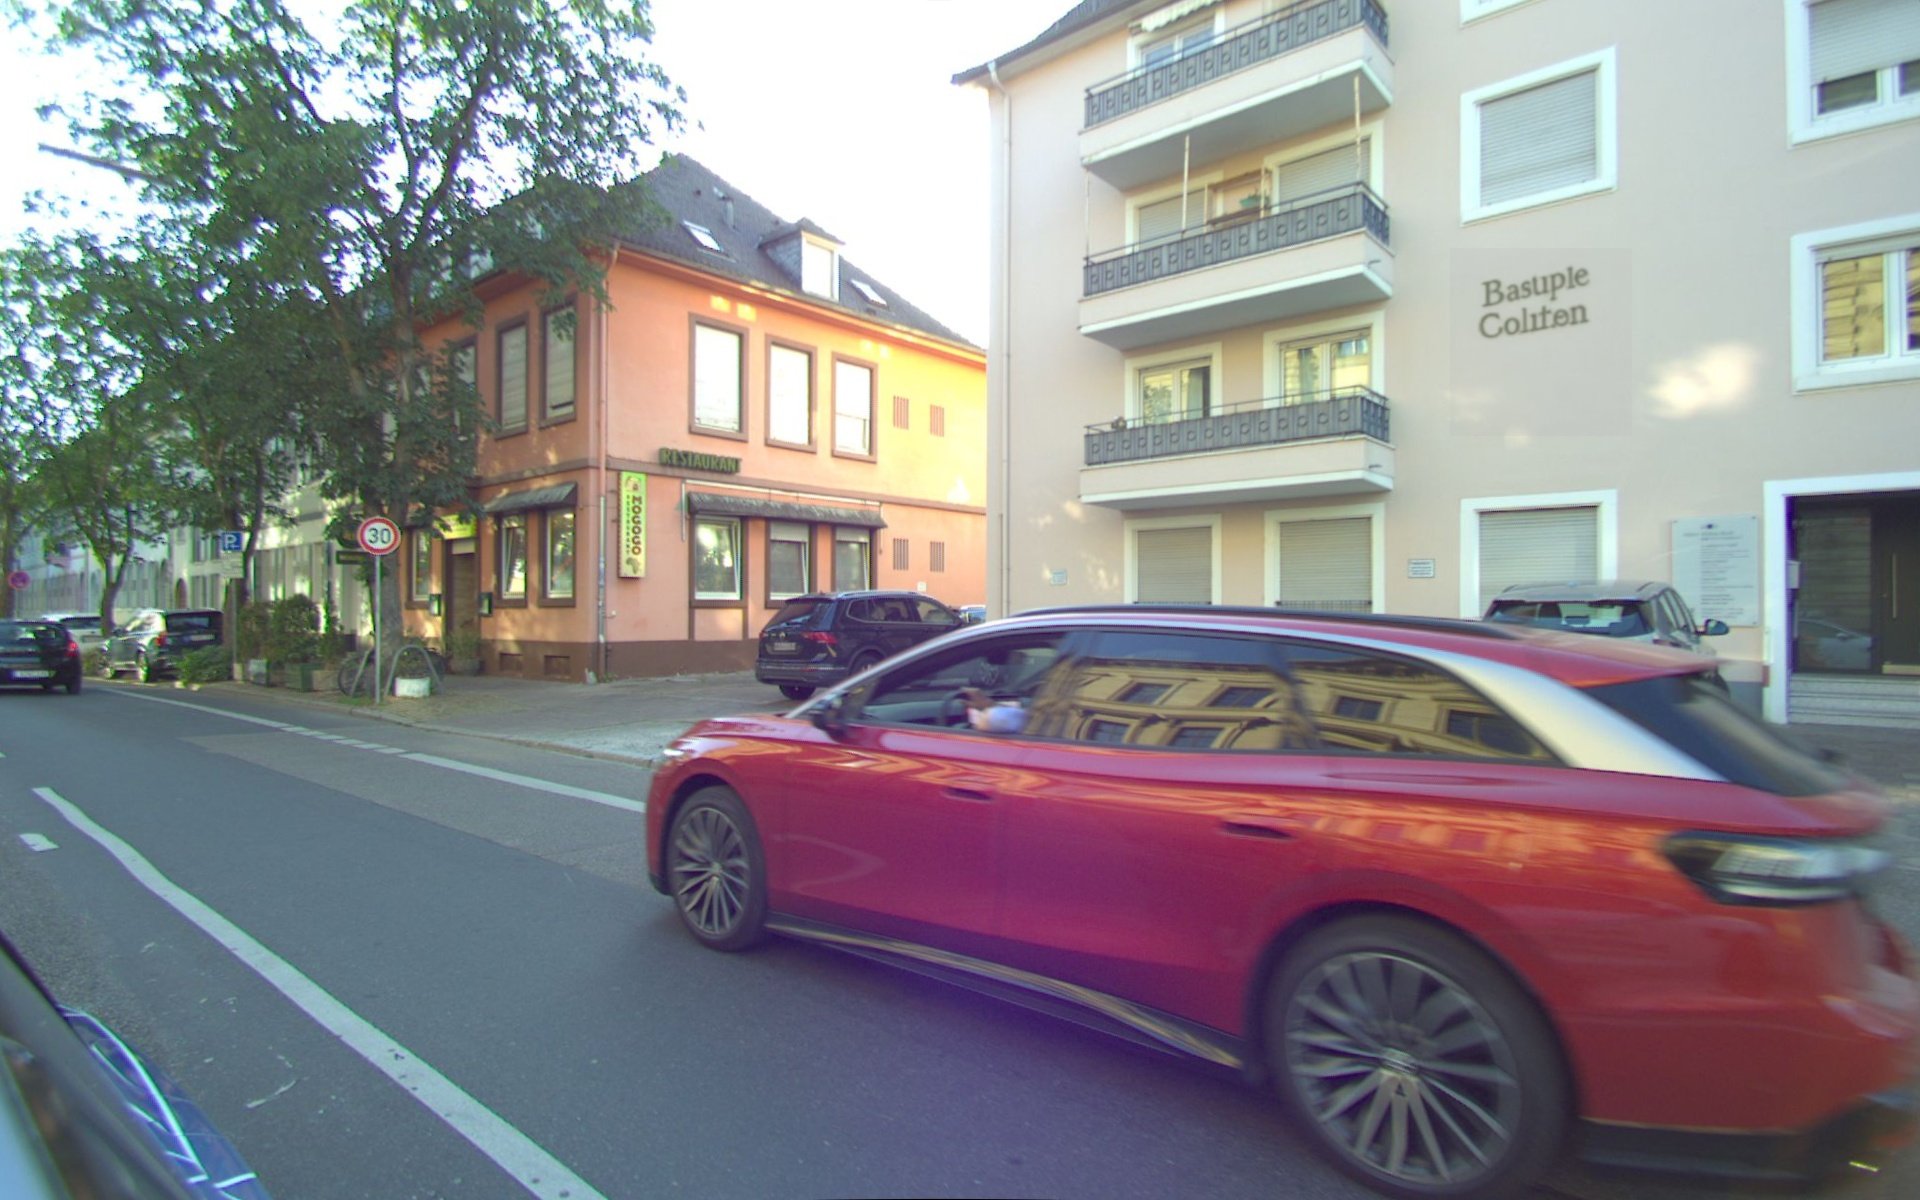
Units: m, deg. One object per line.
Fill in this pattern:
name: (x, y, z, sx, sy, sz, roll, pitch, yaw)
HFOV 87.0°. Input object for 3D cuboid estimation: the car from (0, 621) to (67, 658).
car: (-41.187, 1.686, 43.419, 1.801, 1.557, 4.172, -1, -1, 43)

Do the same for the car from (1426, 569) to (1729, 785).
car: (6.195, 0.549, 9.883, 1.914, 1.617, 4.374, -1, 0, 39)

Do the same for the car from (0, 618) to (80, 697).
car: (-19.240, 1.145, 20.469, 3.852, 1.483, 1.640, -2, -3, 41)

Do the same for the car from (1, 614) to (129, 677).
car: (-27.303, 1.335, 30.835, 4.645, 1.680, 1.813, -1, 3, 35)

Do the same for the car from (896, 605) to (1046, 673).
car: (0.349, 0.936, 25.589, 1.884, 1.567, 3.762, -1, -1, 39)

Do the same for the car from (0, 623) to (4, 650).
car: (-56.971, 2.078, 57.125, 1.798, 1.519, 4.178, -1, -1, 38)

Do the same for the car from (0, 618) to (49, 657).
car: (-43.449, 1.661, 44.980, 1.798, 1.703, 4.178, -1, -1, 38)

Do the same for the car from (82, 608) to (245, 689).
car: (-20.375, 1.173, 25.819, 5.037, 1.772, 1.813, -1, 3, 35)

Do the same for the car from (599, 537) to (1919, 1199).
car: (0.731, 0.731, 3.990, 4.842, 1.557, 1.812, -2, -3, 39)

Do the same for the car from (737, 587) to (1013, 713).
car: (-1.208, 0.677, 16.169, 1.862, 1.678, 4.374, -1, 0, 39)

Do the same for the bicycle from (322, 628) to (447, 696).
bicycle: (-10.093, 1.060, 17.818, 0.609, 1.112, 1.850, -1, -1, 34)
